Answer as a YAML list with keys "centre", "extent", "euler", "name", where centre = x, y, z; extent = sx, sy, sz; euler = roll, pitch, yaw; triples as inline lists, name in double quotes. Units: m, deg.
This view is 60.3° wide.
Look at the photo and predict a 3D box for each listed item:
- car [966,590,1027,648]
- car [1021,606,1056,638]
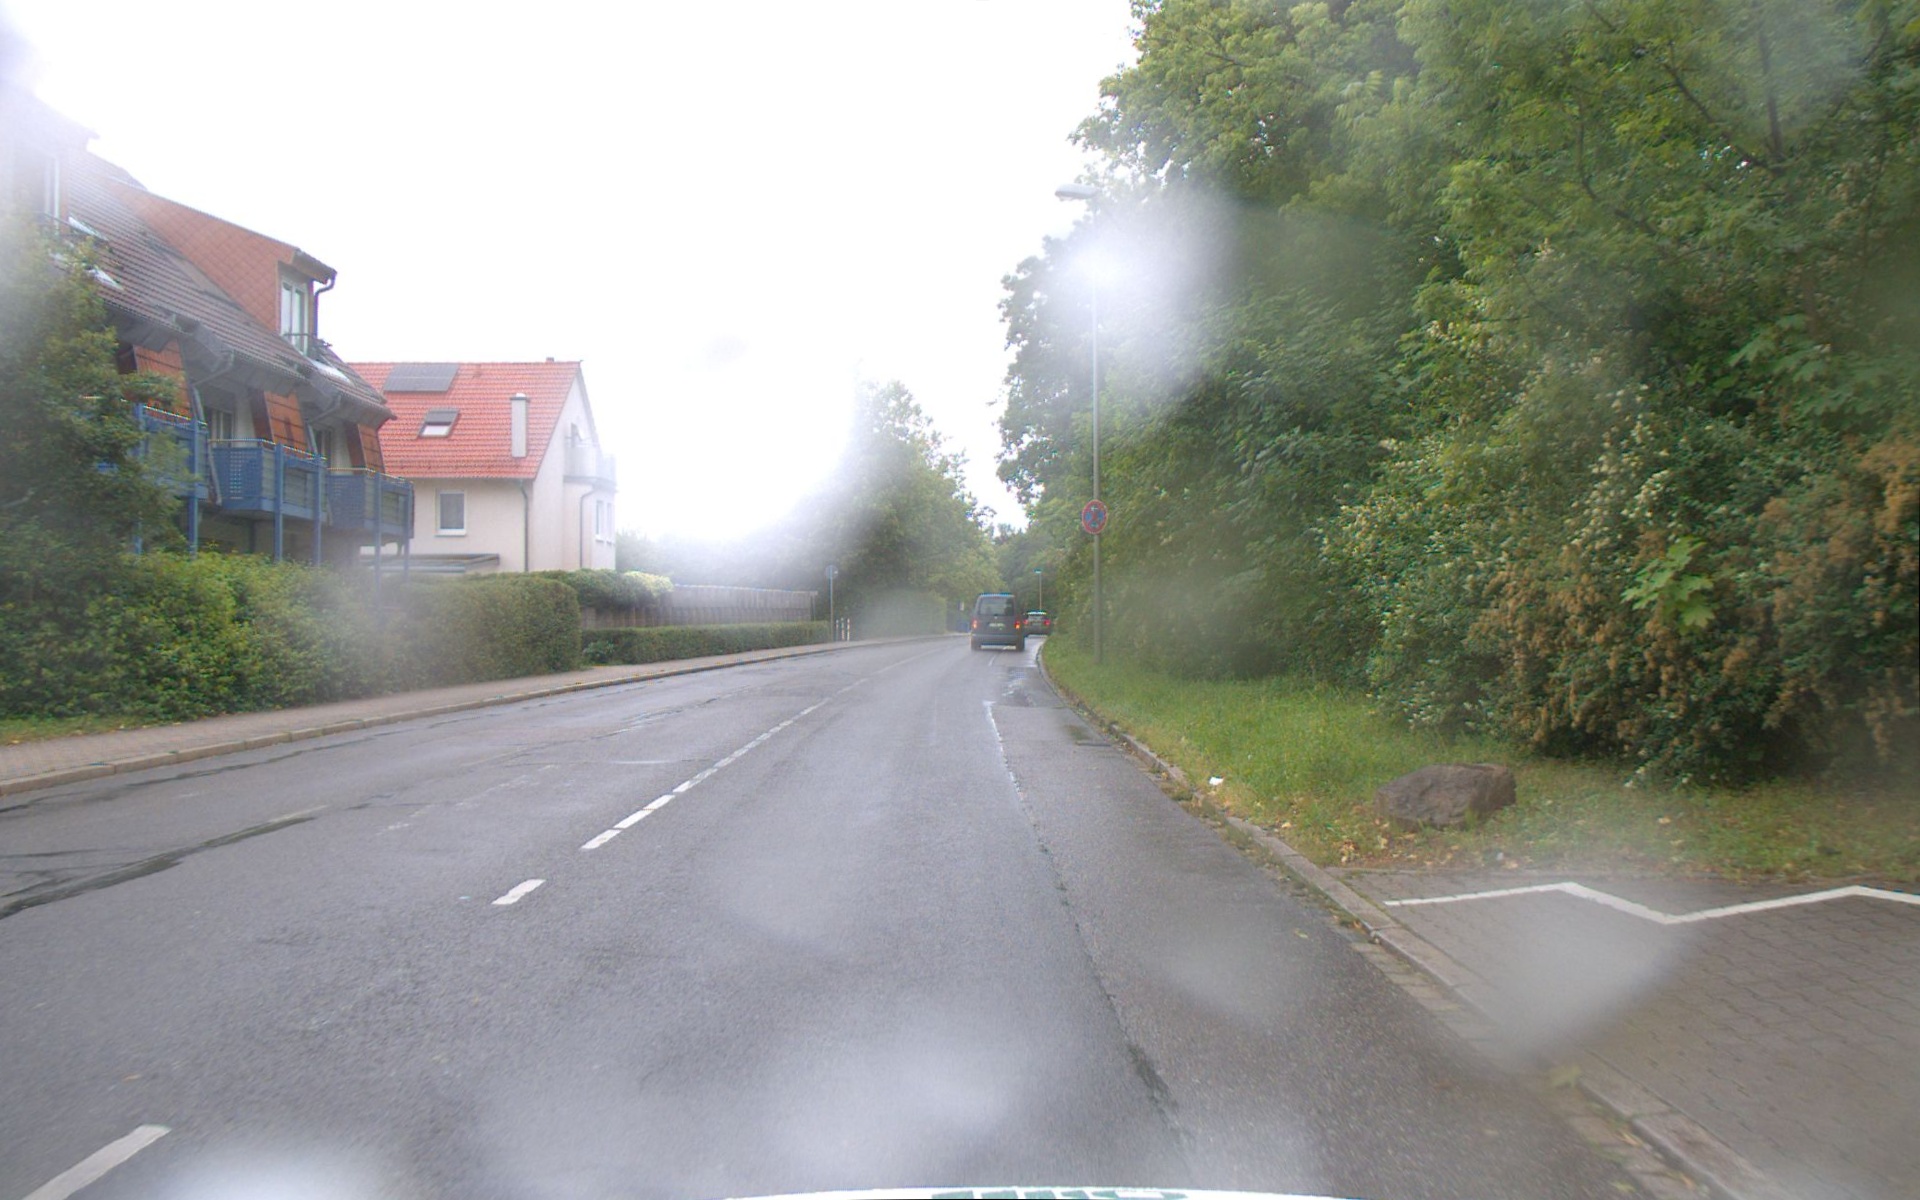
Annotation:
- centre: [1.232, 0.609, 56.059]
  extent: [1.952, 1.825, 4.001]
  euler: [2, 1, 1]
  name: "car"
- centre: [4.662, 1.309, 97.902]
  extent: [1.909, 1.780, 4.003]
  euler: [-1, 0, 5]
  name: "car"
